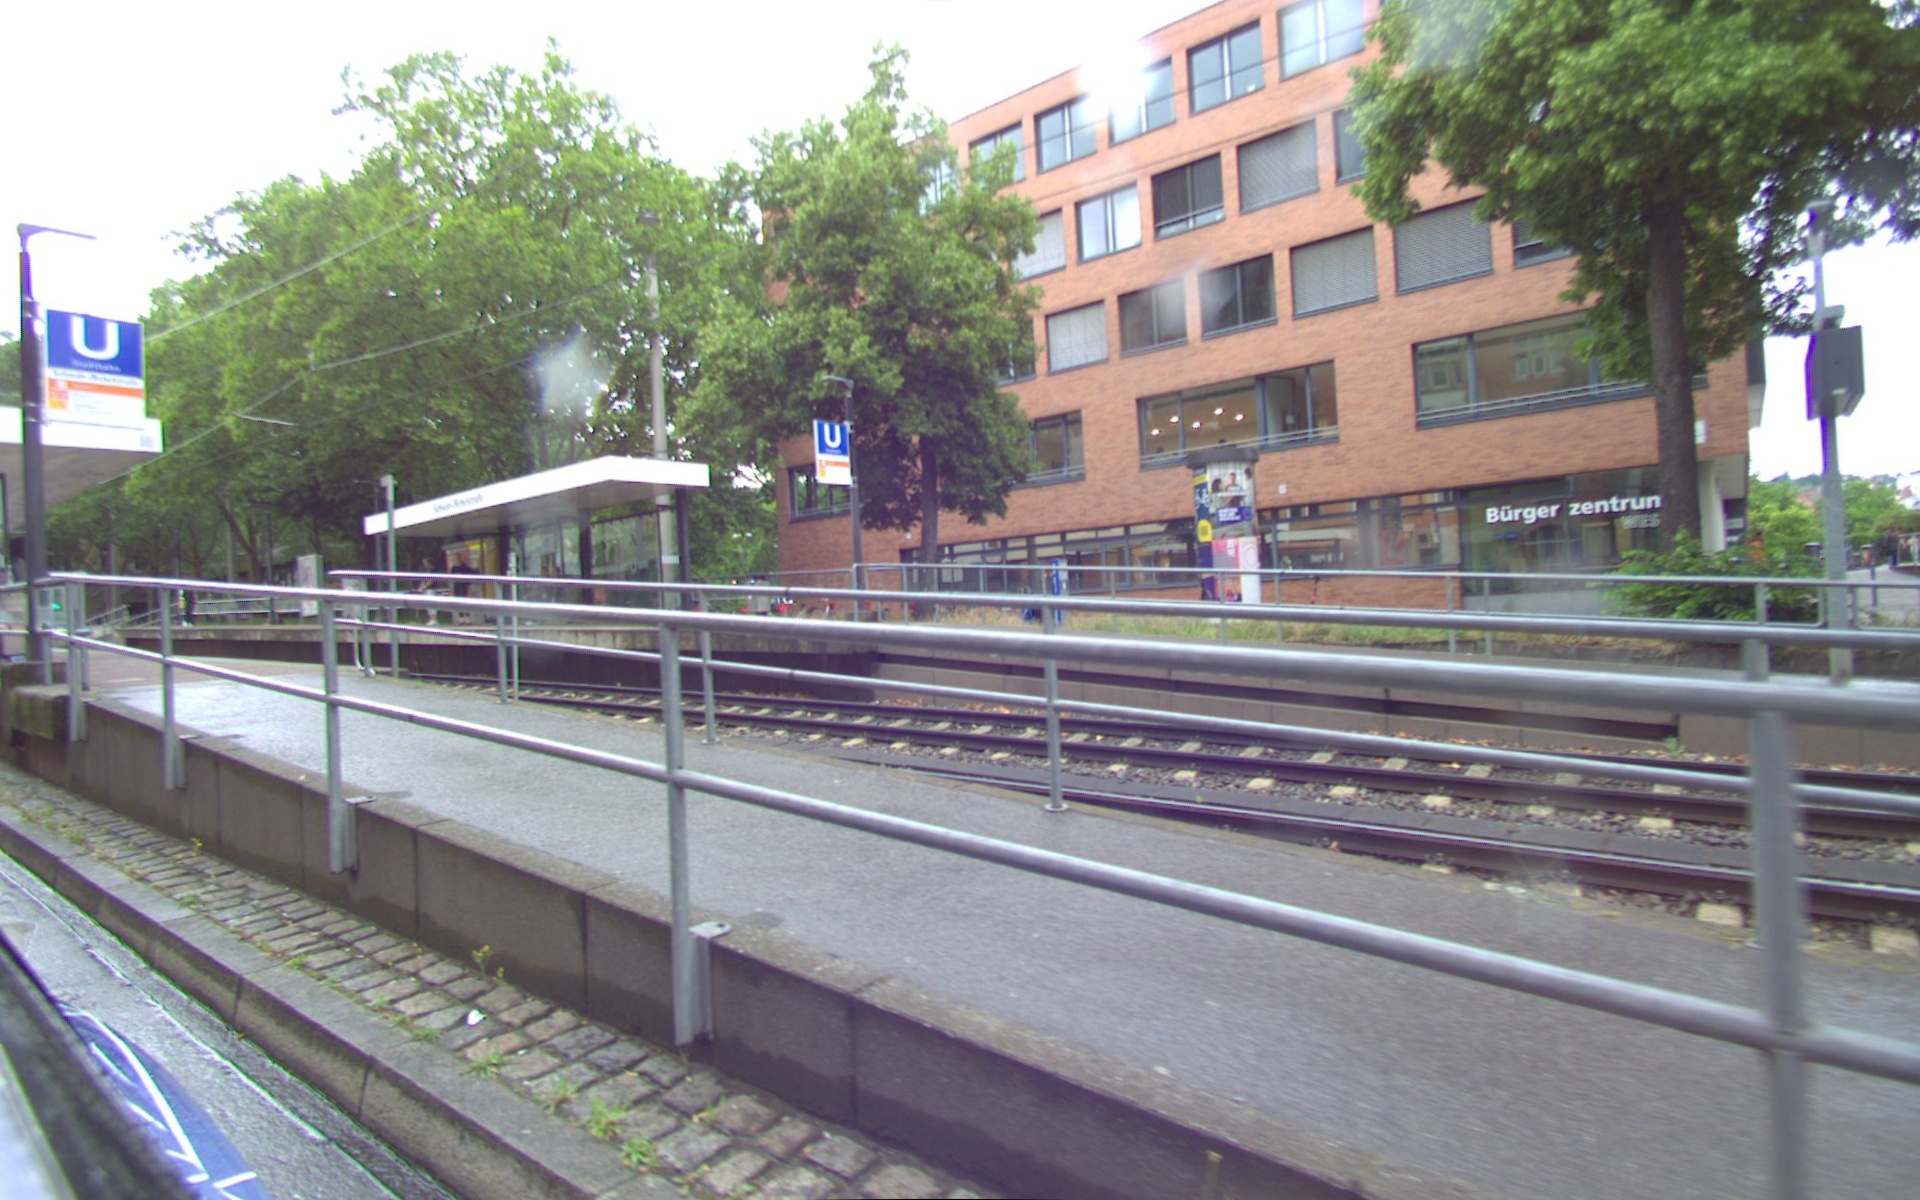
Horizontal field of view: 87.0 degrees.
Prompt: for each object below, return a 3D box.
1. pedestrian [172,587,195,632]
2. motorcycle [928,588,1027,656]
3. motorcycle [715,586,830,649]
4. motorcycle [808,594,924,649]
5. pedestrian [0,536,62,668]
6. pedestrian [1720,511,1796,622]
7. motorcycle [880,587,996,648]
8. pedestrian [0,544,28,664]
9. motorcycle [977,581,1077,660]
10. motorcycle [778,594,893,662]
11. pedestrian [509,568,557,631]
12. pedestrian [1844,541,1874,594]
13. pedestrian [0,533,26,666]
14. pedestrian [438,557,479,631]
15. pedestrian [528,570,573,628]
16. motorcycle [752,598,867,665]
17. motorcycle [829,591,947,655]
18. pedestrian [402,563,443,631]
[{"bbox_3d":[-28.694,0.355,37.397,0.556,1.653,0.689,-3,0,-45],"label":"pedestrian"},{"bbox_3d":[0.508,0.545,26.690,1.004,1.640,3.030,-2,0,37],"label":"motorcycle"},{"bbox_3d":[-5.782,0.504,31.634,1.004,1.787,3.829,-2,0,37],"label":"motorcycle"},{"bbox_3d":[-2.657,0.597,29.332,1.004,1.417,3.829,-2,0,37],"label":"motorcycle"},{"bbox_3d":[-11.587,0.026,12.541,0.507,1.593,0.607,-2,0,42],"label":"pedestrian"},{"bbox_3d":[15.024,-0.617,19.086,0.977,2.029,0.727,-2,0,30],"label":"pedestrian"},{"bbox_3d":[-0.525,0.441,27.643,1.004,1.499,3.829,-2,0,37],"label":"motorcycle"},{"bbox_3d":[-12.938,0.059,13.542,0.507,1.593,0.607,-2,0,42],"label":"pedestrian"},{"bbox_3d":[1.730,0.476,25.453,0.992,1.829,3.009,-2,0,37],"label":"motorcycle"},{"bbox_3d":[-3.626,0.772,30.080,1.004,1.829,3.829,-2,0,37],"label":"motorcycle"},{"bbox_3d":[-9.608,-0.019,22.793,0.563,1.373,0.770,-3,0,36],"label":"pedestrian"},{"bbox_3d":[35.037,-1.248,39.440,0.715,2.029,0.712,-2,-1,34],"label":"pedestrian"},{"bbox_3d":[-12.538,-0.005,13.079,0.587,1.701,0.607,-2,0,42],"label":"pedestrian"},{"bbox_3d":[-12.114,-0.144,24.435,0.704,1.728,0.557,-2,0,37],"label":"pedestrian"},{"bbox_3d":[-9.090,-0.029,22.474,0.563,1.249,0.697,-2,0,36],"label":"pedestrian"},{"bbox_3d":[-4.519,0.914,30.794,1.004,1.829,3.829,-2,0,37],"label":"motorcycle"},{"bbox_3d":[-1.943,0.593,28.301,1.004,1.617,3.829,-2,0,37],"label":"motorcycle"},{"bbox_3d":[-13.418,-0.074,25.267,0.563,1.653,0.680,-3,0,36],"label":"pedestrian"}]
